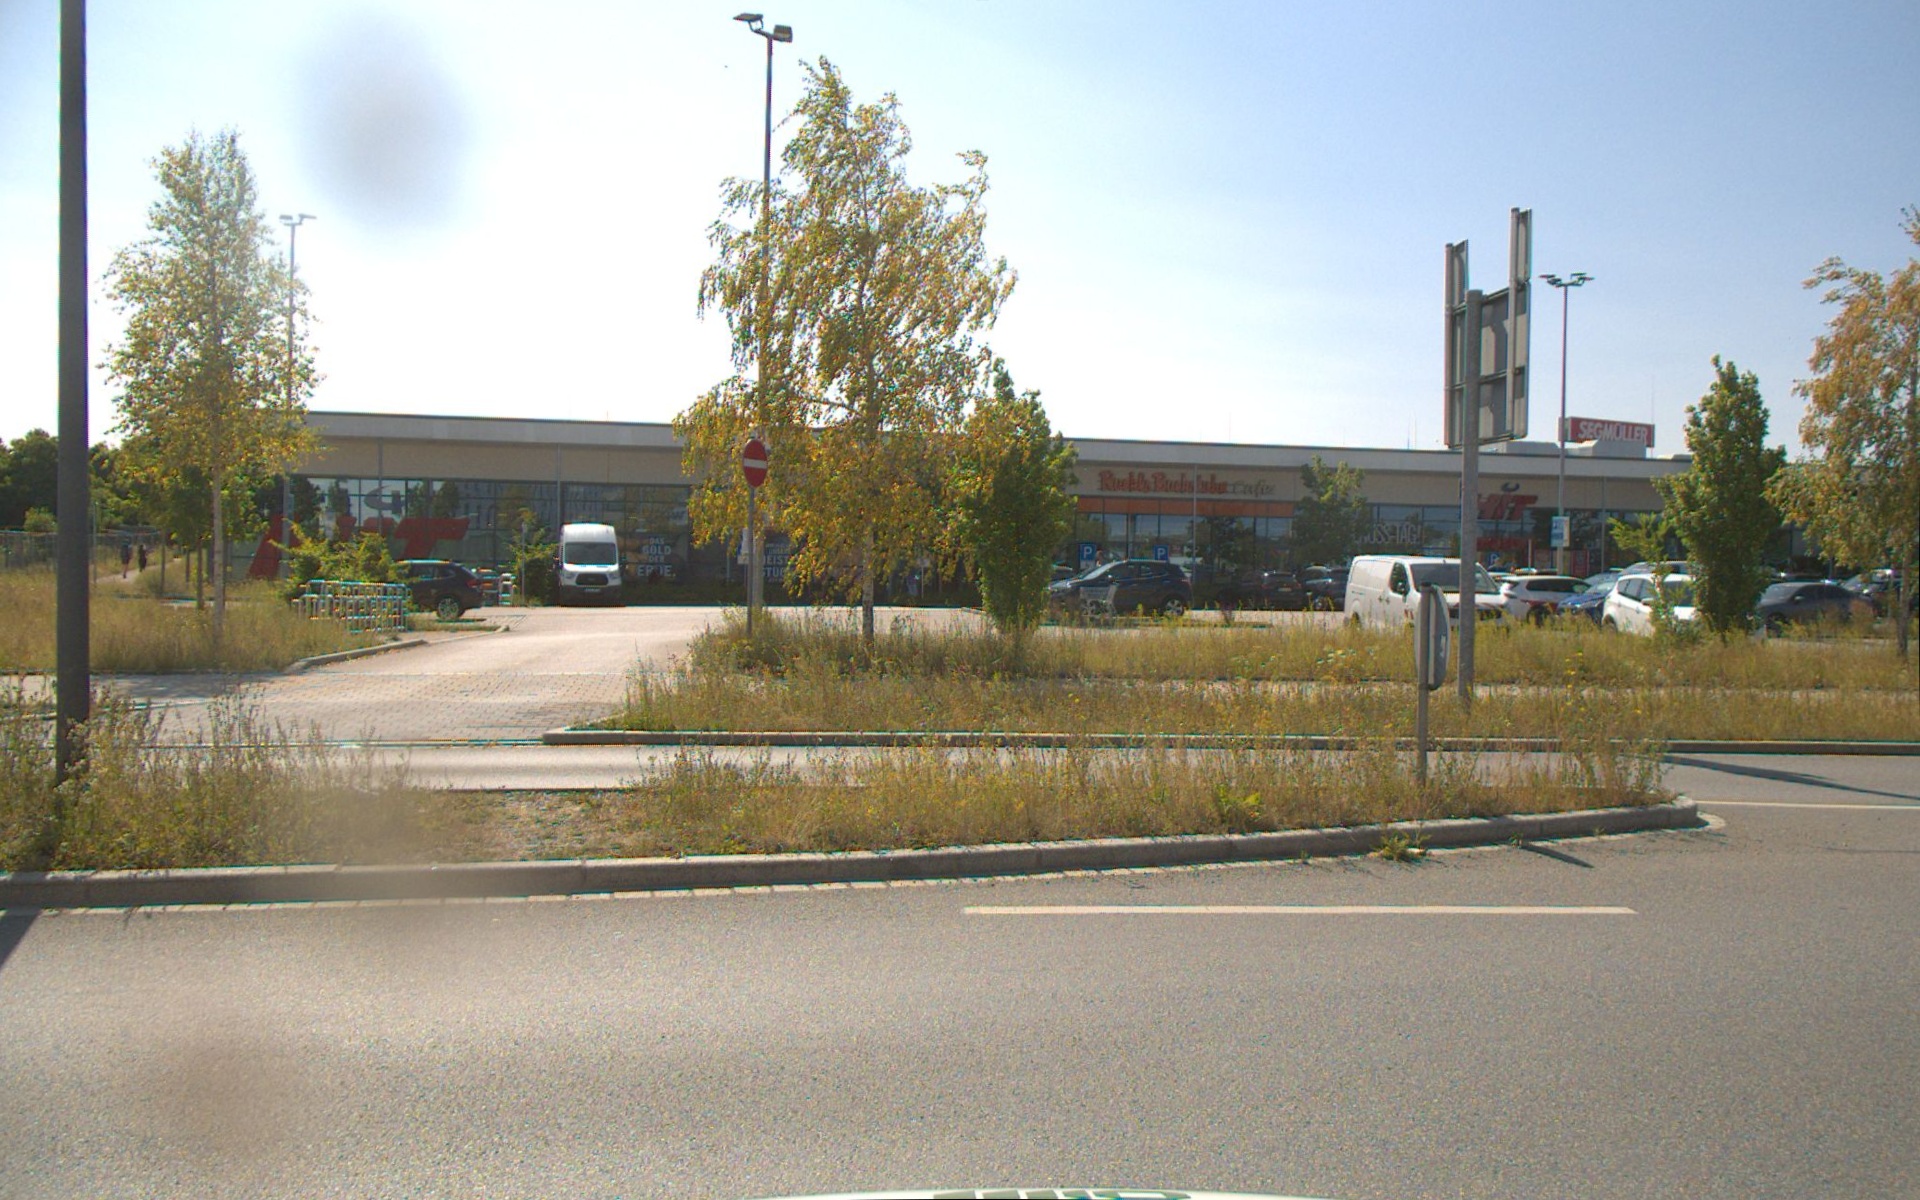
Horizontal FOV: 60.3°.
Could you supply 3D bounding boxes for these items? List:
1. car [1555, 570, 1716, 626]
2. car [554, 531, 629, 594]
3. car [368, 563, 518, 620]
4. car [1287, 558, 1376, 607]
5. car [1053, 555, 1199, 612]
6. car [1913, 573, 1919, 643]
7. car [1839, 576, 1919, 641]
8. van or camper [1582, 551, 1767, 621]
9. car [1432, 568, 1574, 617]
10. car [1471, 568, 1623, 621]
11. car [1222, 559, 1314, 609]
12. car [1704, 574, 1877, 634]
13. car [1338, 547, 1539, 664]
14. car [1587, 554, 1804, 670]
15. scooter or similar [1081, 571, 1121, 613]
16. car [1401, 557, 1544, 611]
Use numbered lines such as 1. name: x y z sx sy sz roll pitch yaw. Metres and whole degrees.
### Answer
1. car: 17.807 -0.054 43.642 3.658 1.415 1.725 0 1 -15
2. car: -12.717 -1.295 56.739 2.186 2.011 6.669 0 2 -15
3. car: -13.882 -0.240 44.643 3.770 1.448 1.765 1 1 -16
4. car: 13.963 -0.681 62.387 1.956 1.737 3.993 1 2 -8
5. car: 4.636 -0.483 46.424 3.726 1.535 1.727 0 1 -12
6. car: 33.175 0.307 53.141 4.400 2.229 1.990 1 1 -18
7. car: 32.534 0.296 56.176 4.386 2.139 1.997 1 1 -8
8. van or camper: 21.878 -0.434 50.724 4.943 2.048 1.996 0 1 -10
9. car: 16.077 -0.227 49.048 3.658 1.415 1.725 0 1 -15
10. car: 16.325 -0.159 46.014 3.658 1.415 1.725 0 1 -15
11. car: 11.432 -0.614 61.587 1.959 1.737 3.988 0 2 -13
12. car: 22.771 0.110 45.392 3.915 1.534 1.870 1 1 -11
13. car: 9.119 0.034 32.045 2.040 2.048 5.225 1 1 -4
14. car: 14.225 0.145 32.379 2.112 2.048 5.118 1 1 2
15. scooter or similar: 3.795 -0.213 44.555 0.925 1.098 0.651 1 1 -8
16. car: 17.828 -0.555 57.605 4.388 1.735 1.871 1 1 -9
